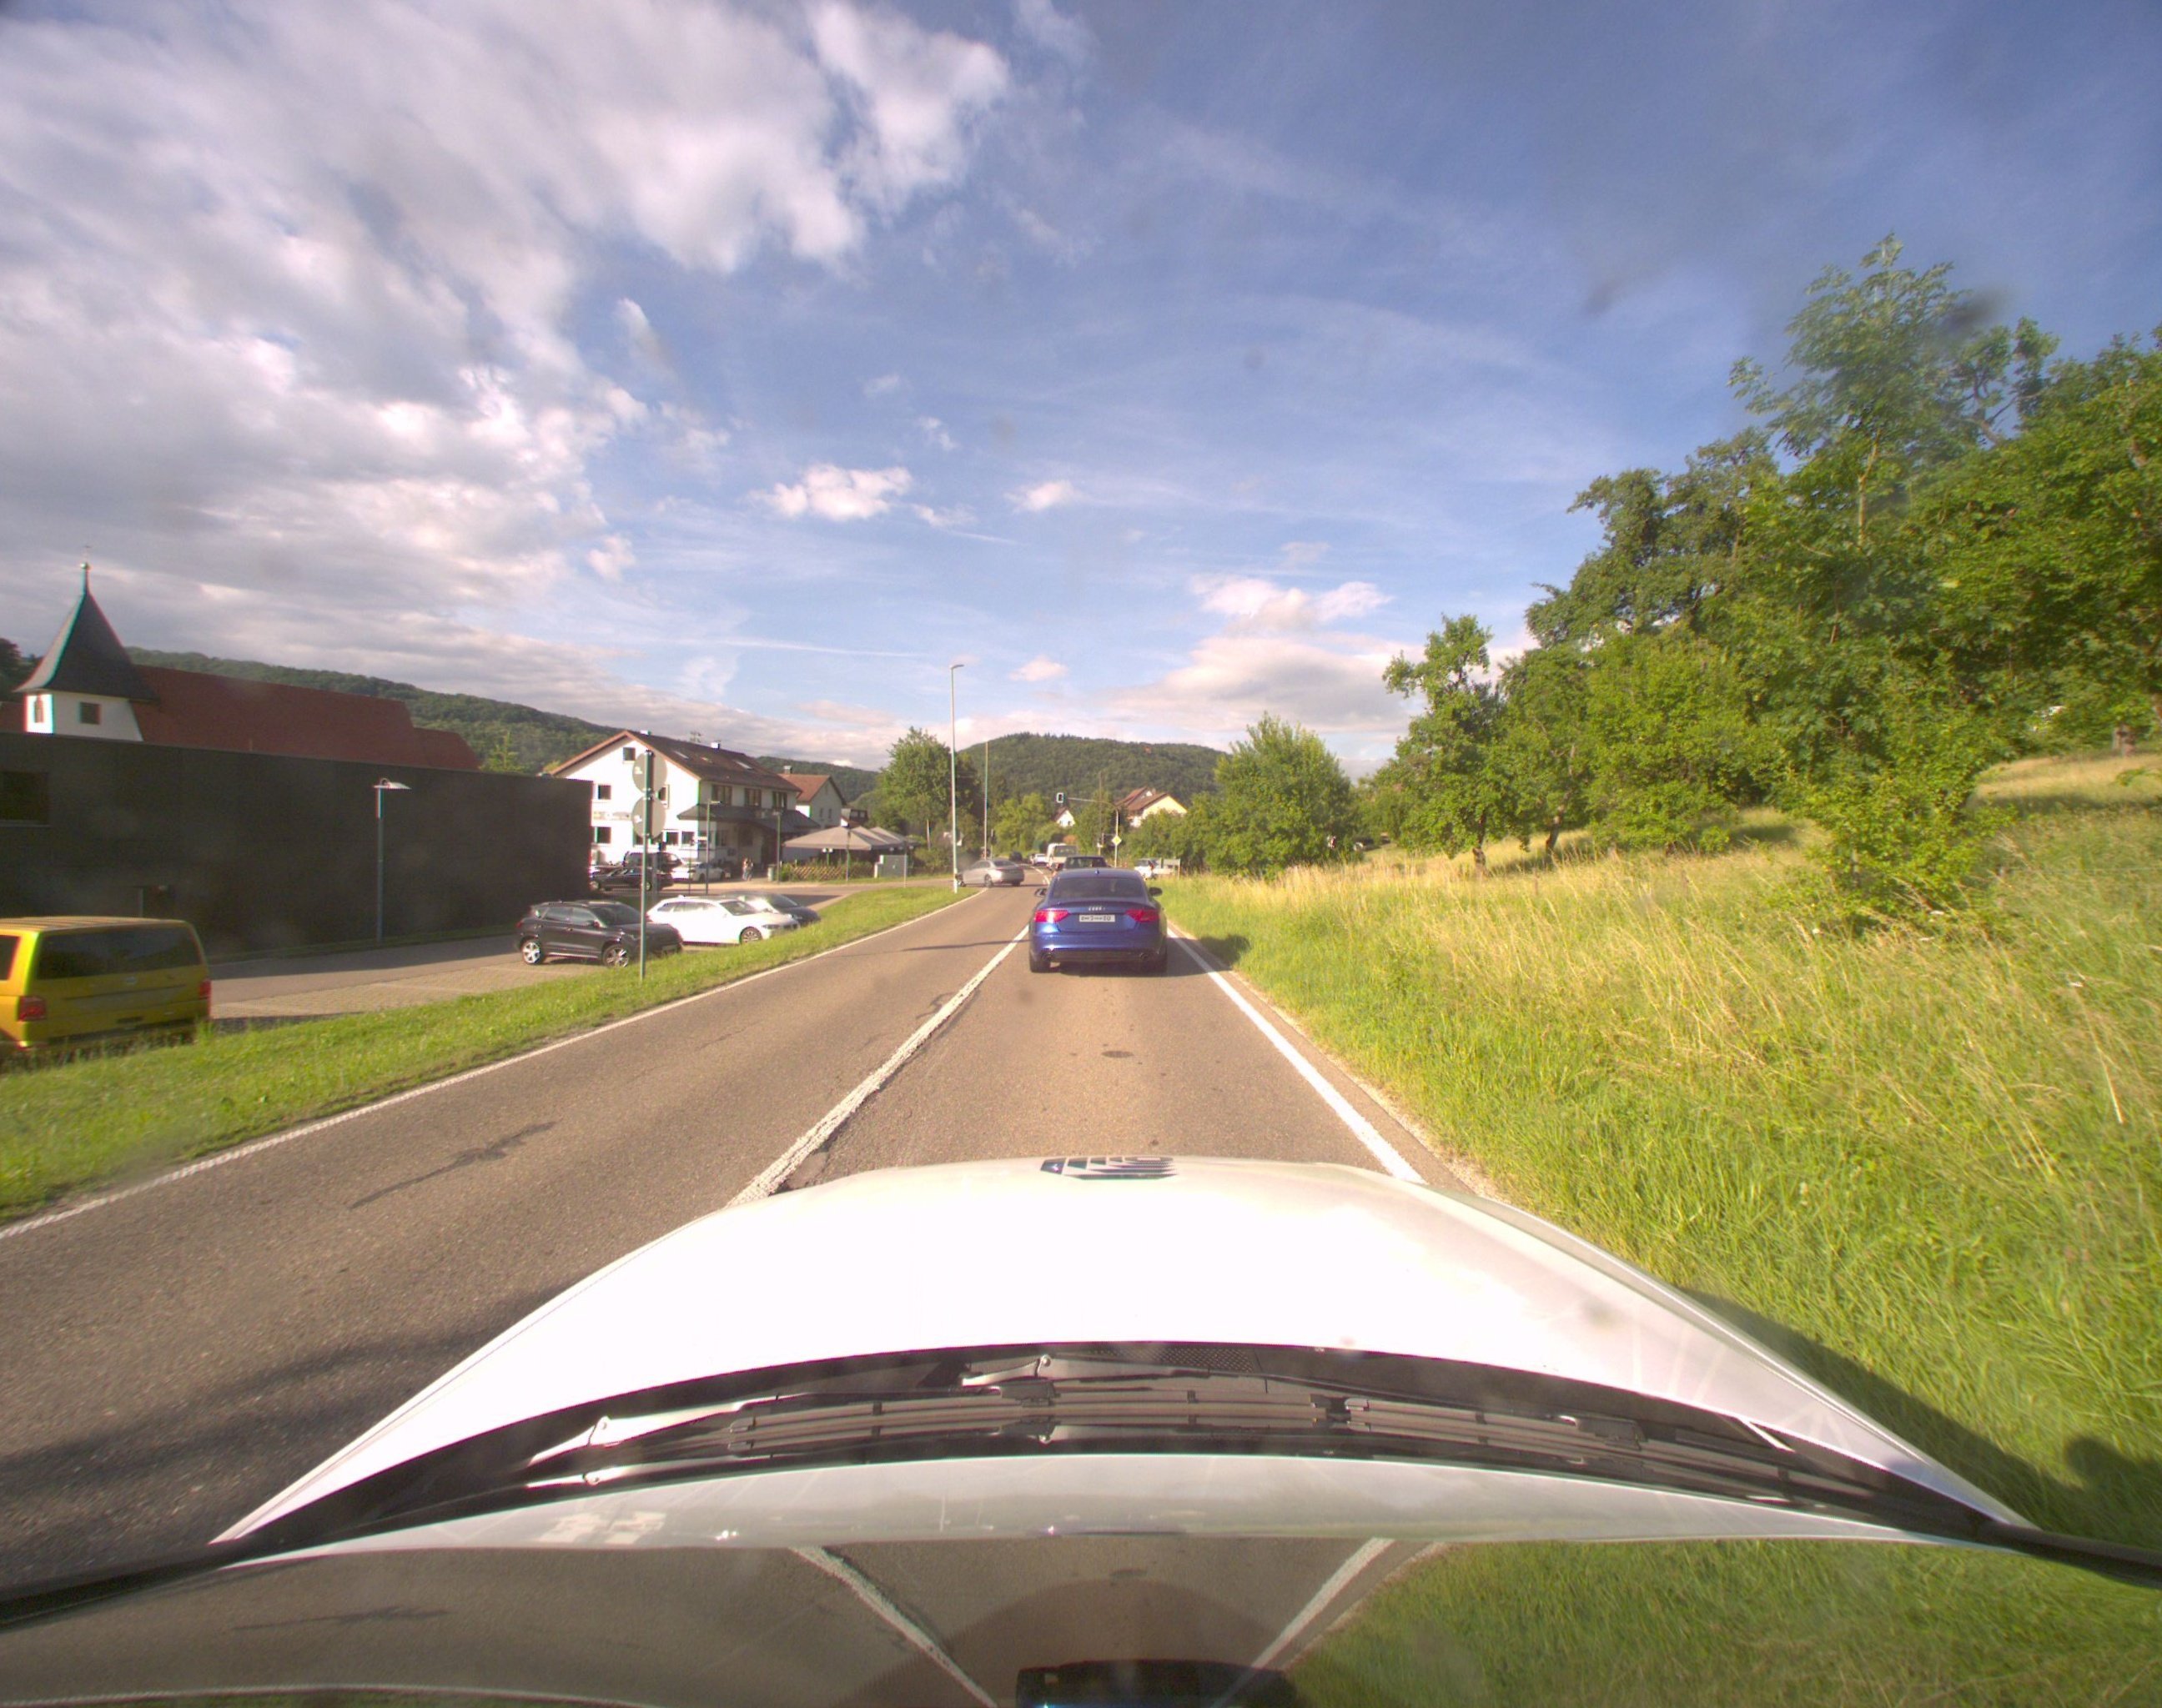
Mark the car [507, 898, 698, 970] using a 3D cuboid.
[{"bbox_3d":[-12.446,2.027,21.286,3.996,1.637,2.007,0,-1,14],"label":"car"}]

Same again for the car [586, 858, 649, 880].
[{"bbox_3d":[-30.507,0.973,53.740,1.834,1.354,4.001,0,-1,1],"label":"car"}]

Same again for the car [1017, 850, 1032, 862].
[{"bbox_3d":[-7.550,0.260,108.398,1.698,1.490,3.513,0,-1,-11],"label":"car"}]

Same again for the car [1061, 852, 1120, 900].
[{"bbox_3d":[0.422,0.785,29.802,1.737,1.639,4.007,0,-1,6],"label":"car"}]

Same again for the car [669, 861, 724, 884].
[{"bbox_3d":[-25.229,1.178,53.596,1.550,1.450,4.001,0,-1,2],"label":"car"}]

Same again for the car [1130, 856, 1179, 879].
[{"bbox_3d":[4.821,0.866,52.988,1.609,1.478,3.754,-1,-1,32],"label":"car"}]

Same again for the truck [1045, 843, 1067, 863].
[{"bbox_3d":[-2.582,-0.081,82.597,1.696,1.953,5.907,0,-1,-7],"label":"truck"}]

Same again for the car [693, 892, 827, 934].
[{"bbox_3d":[-11.143,2.024,28.398,3.963,1.310,1.765,0,-1,9],"label":"car"}]

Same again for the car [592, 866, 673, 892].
[{"bbox_3d":[-25.384,1.404,46.120,3.952,1.442,1.930,0,-1,22],"label":"car"}]

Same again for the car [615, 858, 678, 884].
[{"bbox_3d":[-28.287,1.101,53.179,1.880,1.662,4.001,0,-1,2],"label":"car"}]

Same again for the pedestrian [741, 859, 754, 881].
[{"bbox_3d":[-22.787,1.119,55.632,0.606,1.503,0.590,0,-1,2],"label":"pedestrian"}]

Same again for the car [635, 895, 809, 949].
[{"bbox_3d":[-11.225,2.072,25.534,4.779,1.493,1.888,0,-1,13],"label":"car"}]

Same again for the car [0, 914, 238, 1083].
[{"bbox_3d":[-14.726,1.871,11.503,4.574,1.868,2.009,0,-1,17],"label":"car"}]

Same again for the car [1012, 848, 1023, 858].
[{"bbox_3d":[-10.016,-0.146,127.747,1.695,1.490,3.520,0,-1,-5],"label":"car"}]

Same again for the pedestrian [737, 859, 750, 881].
[{"bbox_3d":[-23.317,1.110,56.290,0.606,1.503,0.590,0,-1,2],"label":"pedestrian"}]

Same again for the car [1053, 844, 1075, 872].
[{"bbox_3d":[-1.369,0.331,64.621,1.741,2.195,3.996,0,-1,-2],"label":"car"}]

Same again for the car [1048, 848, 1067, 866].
[{"bbox_3d":[-2.200,0.282,77.152,1.741,1.639,3.996,0,-1,-2],"label":"car"}]

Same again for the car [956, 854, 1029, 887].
[{"bbox_3d":[-4.657,0.861,42.575,1.819,1.639,4.413,1,-1,-37],"label":"car"}]

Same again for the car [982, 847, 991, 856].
[{"bbox_3d":[-18.444,-0.441,158.899,1.625,1.576,3.669,0,-1,-8],"label":"car"}]

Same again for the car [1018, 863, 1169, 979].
[{"bbox_3d":[0.356,0.843,11.857,1.786,1.388,4.007,-1,-1,6],"label":"car"}]

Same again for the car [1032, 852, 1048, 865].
[{"bbox_3d":[-5.038,0.567,98.889,1.696,1.490,3.518,0,-1,-7],"label":"car"}]
